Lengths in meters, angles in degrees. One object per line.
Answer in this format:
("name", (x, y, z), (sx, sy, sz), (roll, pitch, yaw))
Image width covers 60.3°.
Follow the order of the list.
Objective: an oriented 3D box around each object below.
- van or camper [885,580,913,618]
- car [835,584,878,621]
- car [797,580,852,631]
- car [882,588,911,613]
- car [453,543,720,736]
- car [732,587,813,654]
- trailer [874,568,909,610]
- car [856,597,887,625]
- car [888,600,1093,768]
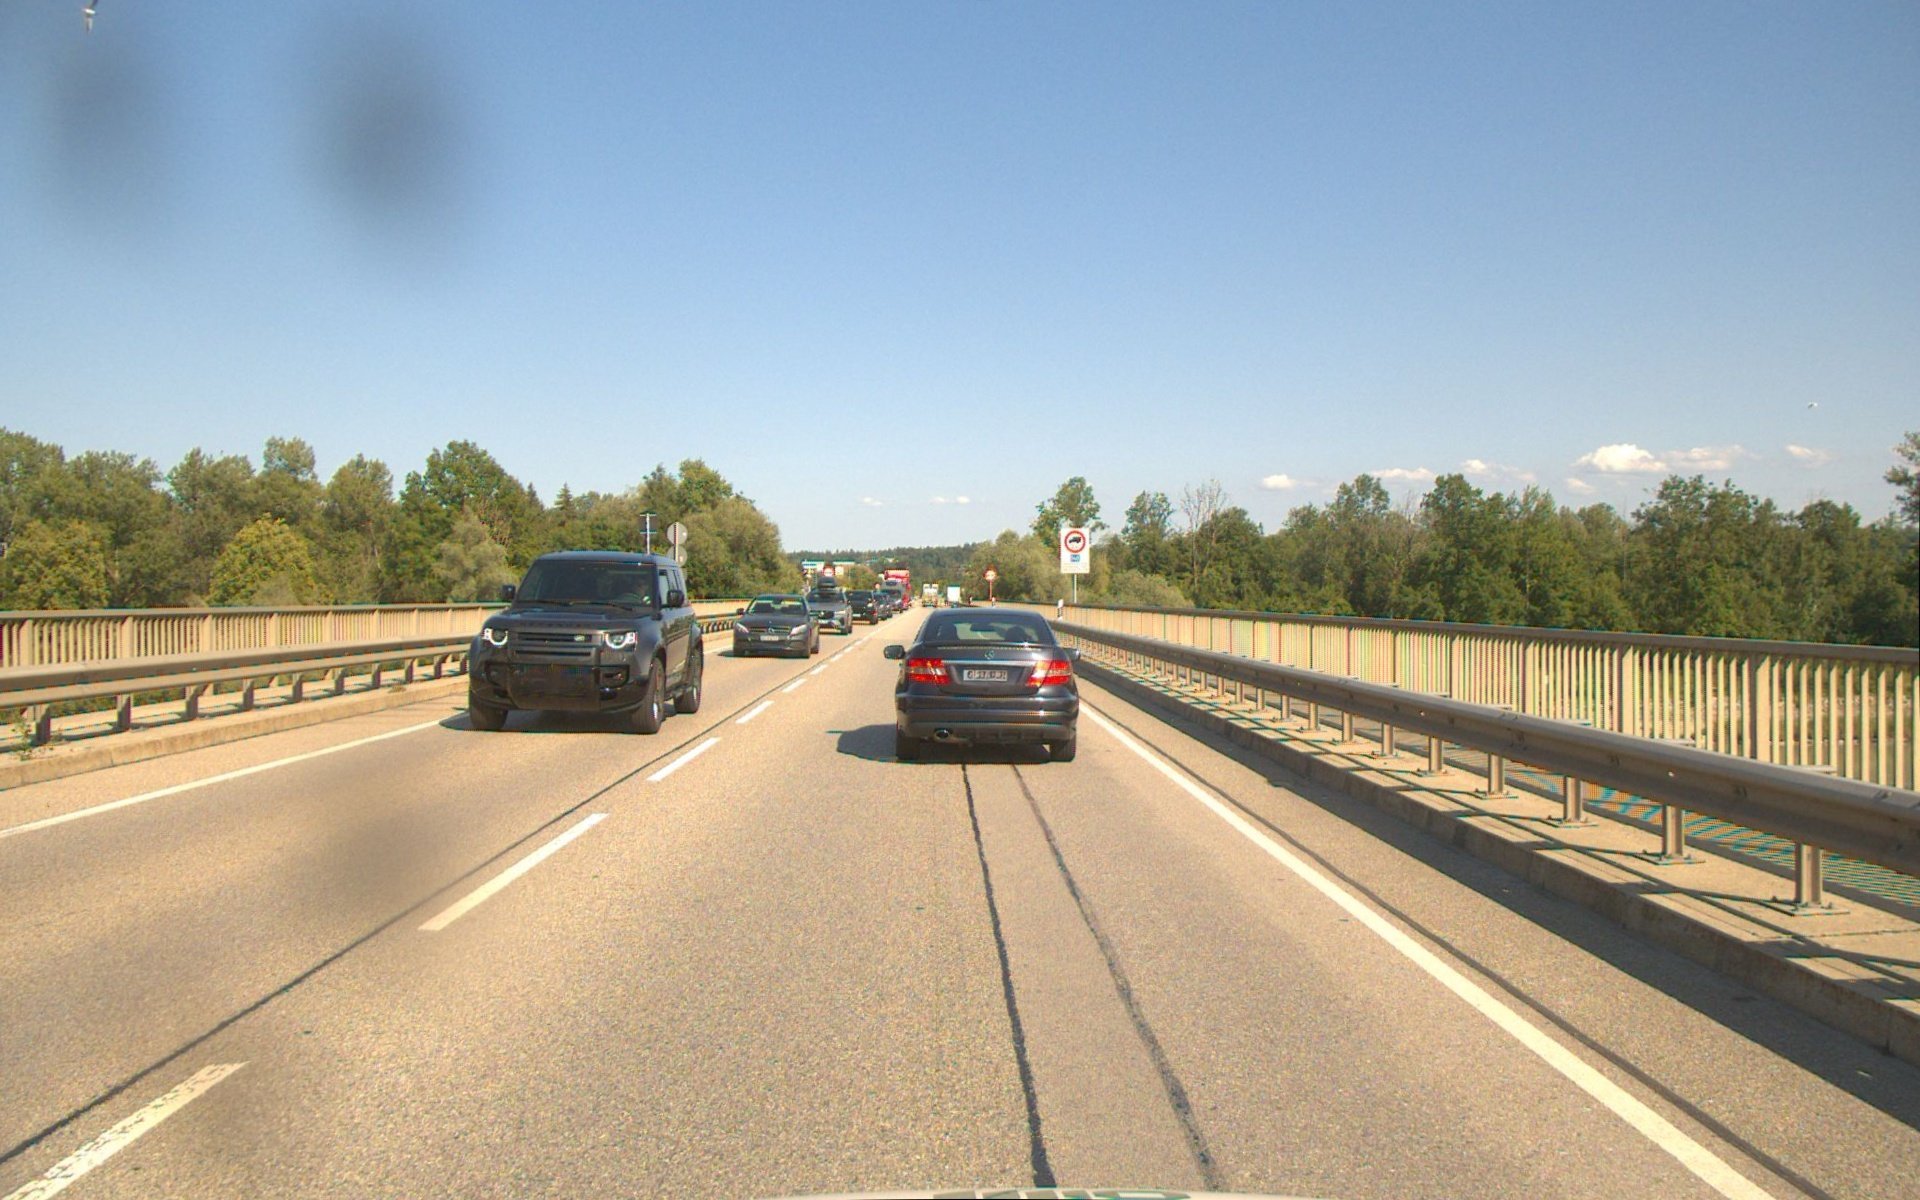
("van or camper", (-5.293, -0.100, 143.218), (2.269, 3.104, 6.813), (2, 0, -3))
("car", (-5.224, 0.116, 83.361), (2.013, 1.681, 4.718), (3, 1, -4))
("car", (-5.015, 0.184, 61.736), (1.817, 1.752, 4.564), (3, 1, -3))
("car", (-4.251, 0.005, 110.049), (1.837, 1.611, 4.272), (1, 0, -3))
("car", (-4.112, 0.381, 19.125), (1.996, 1.906, 5.068), (1, 0, -1))
("car", (-4.415, 0.444, 39.441), (1.731, 1.472, 4.452), (1, 0, -4))
("trailer", (-7.508, -1.205, 178.746), (2.851, 4.377, 14.284), (1, 0, -6))
("car", (-5.282, 0.630, 98.312), (1.771, 1.605, 4.197), (1, 0, -4))
("car", (0.235, 0.726, 16.269), (1.757, 1.400, 3.999), (1, 0, -1))
